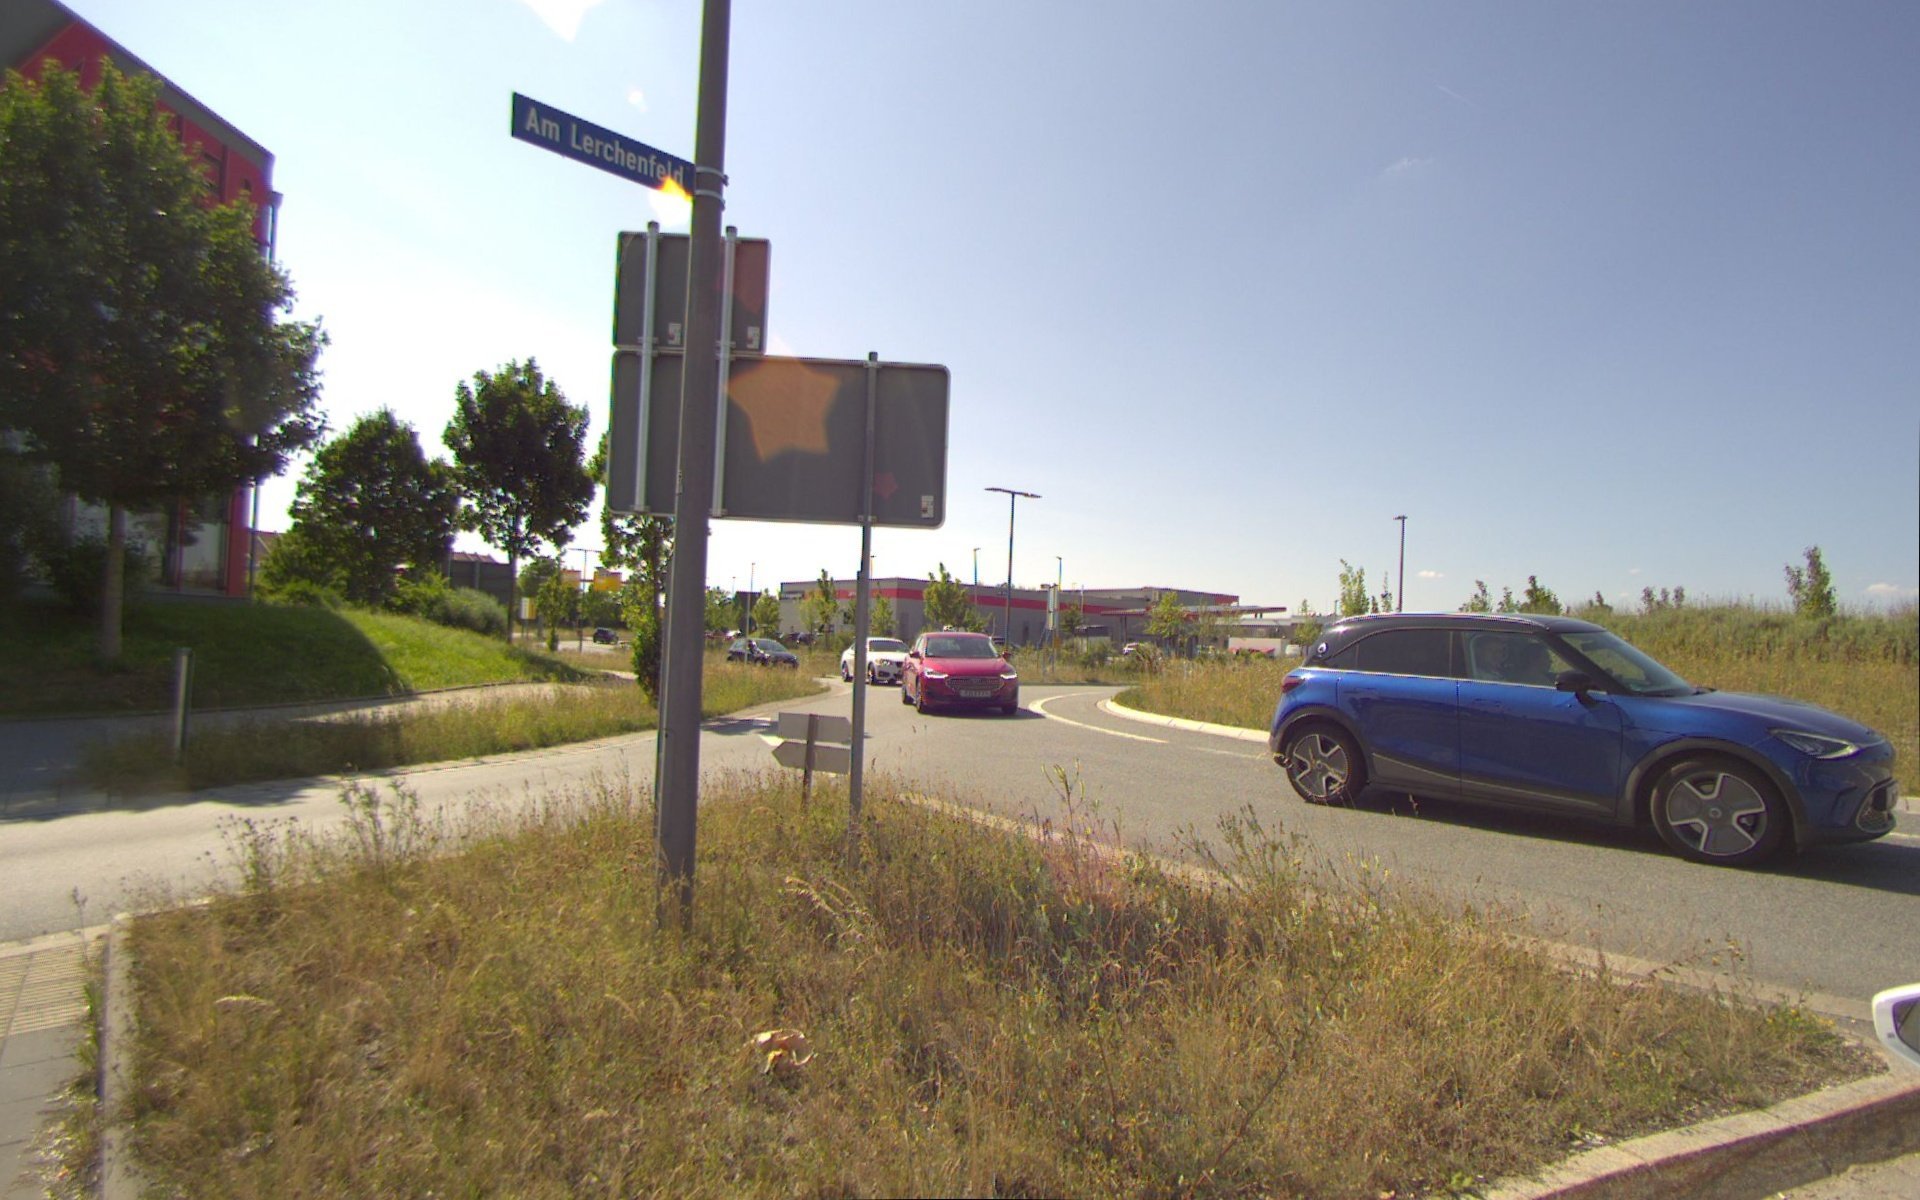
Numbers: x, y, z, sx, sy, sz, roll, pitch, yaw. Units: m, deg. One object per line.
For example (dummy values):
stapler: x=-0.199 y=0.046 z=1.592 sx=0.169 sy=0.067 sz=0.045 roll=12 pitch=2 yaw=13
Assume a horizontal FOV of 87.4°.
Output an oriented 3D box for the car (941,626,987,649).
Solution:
car: x=0.391 y=3.570 z=94.834 sx=3.971 sy=2.040 sz=1.975 roll=4 pitch=-3 yaw=-42

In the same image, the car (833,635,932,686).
car: x=-2.483 y=1.839 z=31.222 sx=1.772 sy=1.434 sz=4.358 roll=3 pitch=-2 yaw=-23

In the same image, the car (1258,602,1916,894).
car: x=4.610 y=0.882 z=7.875 sx=1.842 sy=1.657 sz=4.032 roll=2 pitch=-2 yaw=-40

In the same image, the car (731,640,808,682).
car: x=-7.695 y=2.404 z=40.400 sx=1.628 sy=1.507 sz=3.868 roll=2 pitch=-2 yaw=-34

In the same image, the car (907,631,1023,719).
car: x=-0.016 y=1.336 z=18.990 sx=1.774 sy=1.434 sz=4.115 roll=2 pitch=-2 yaw=-5

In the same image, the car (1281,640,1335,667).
car: x=29.100 y=4.487 z=83.997 sx=5.098 sy=2.040 sz=1.976 roll=5 pitch=-3 yaw=-41
